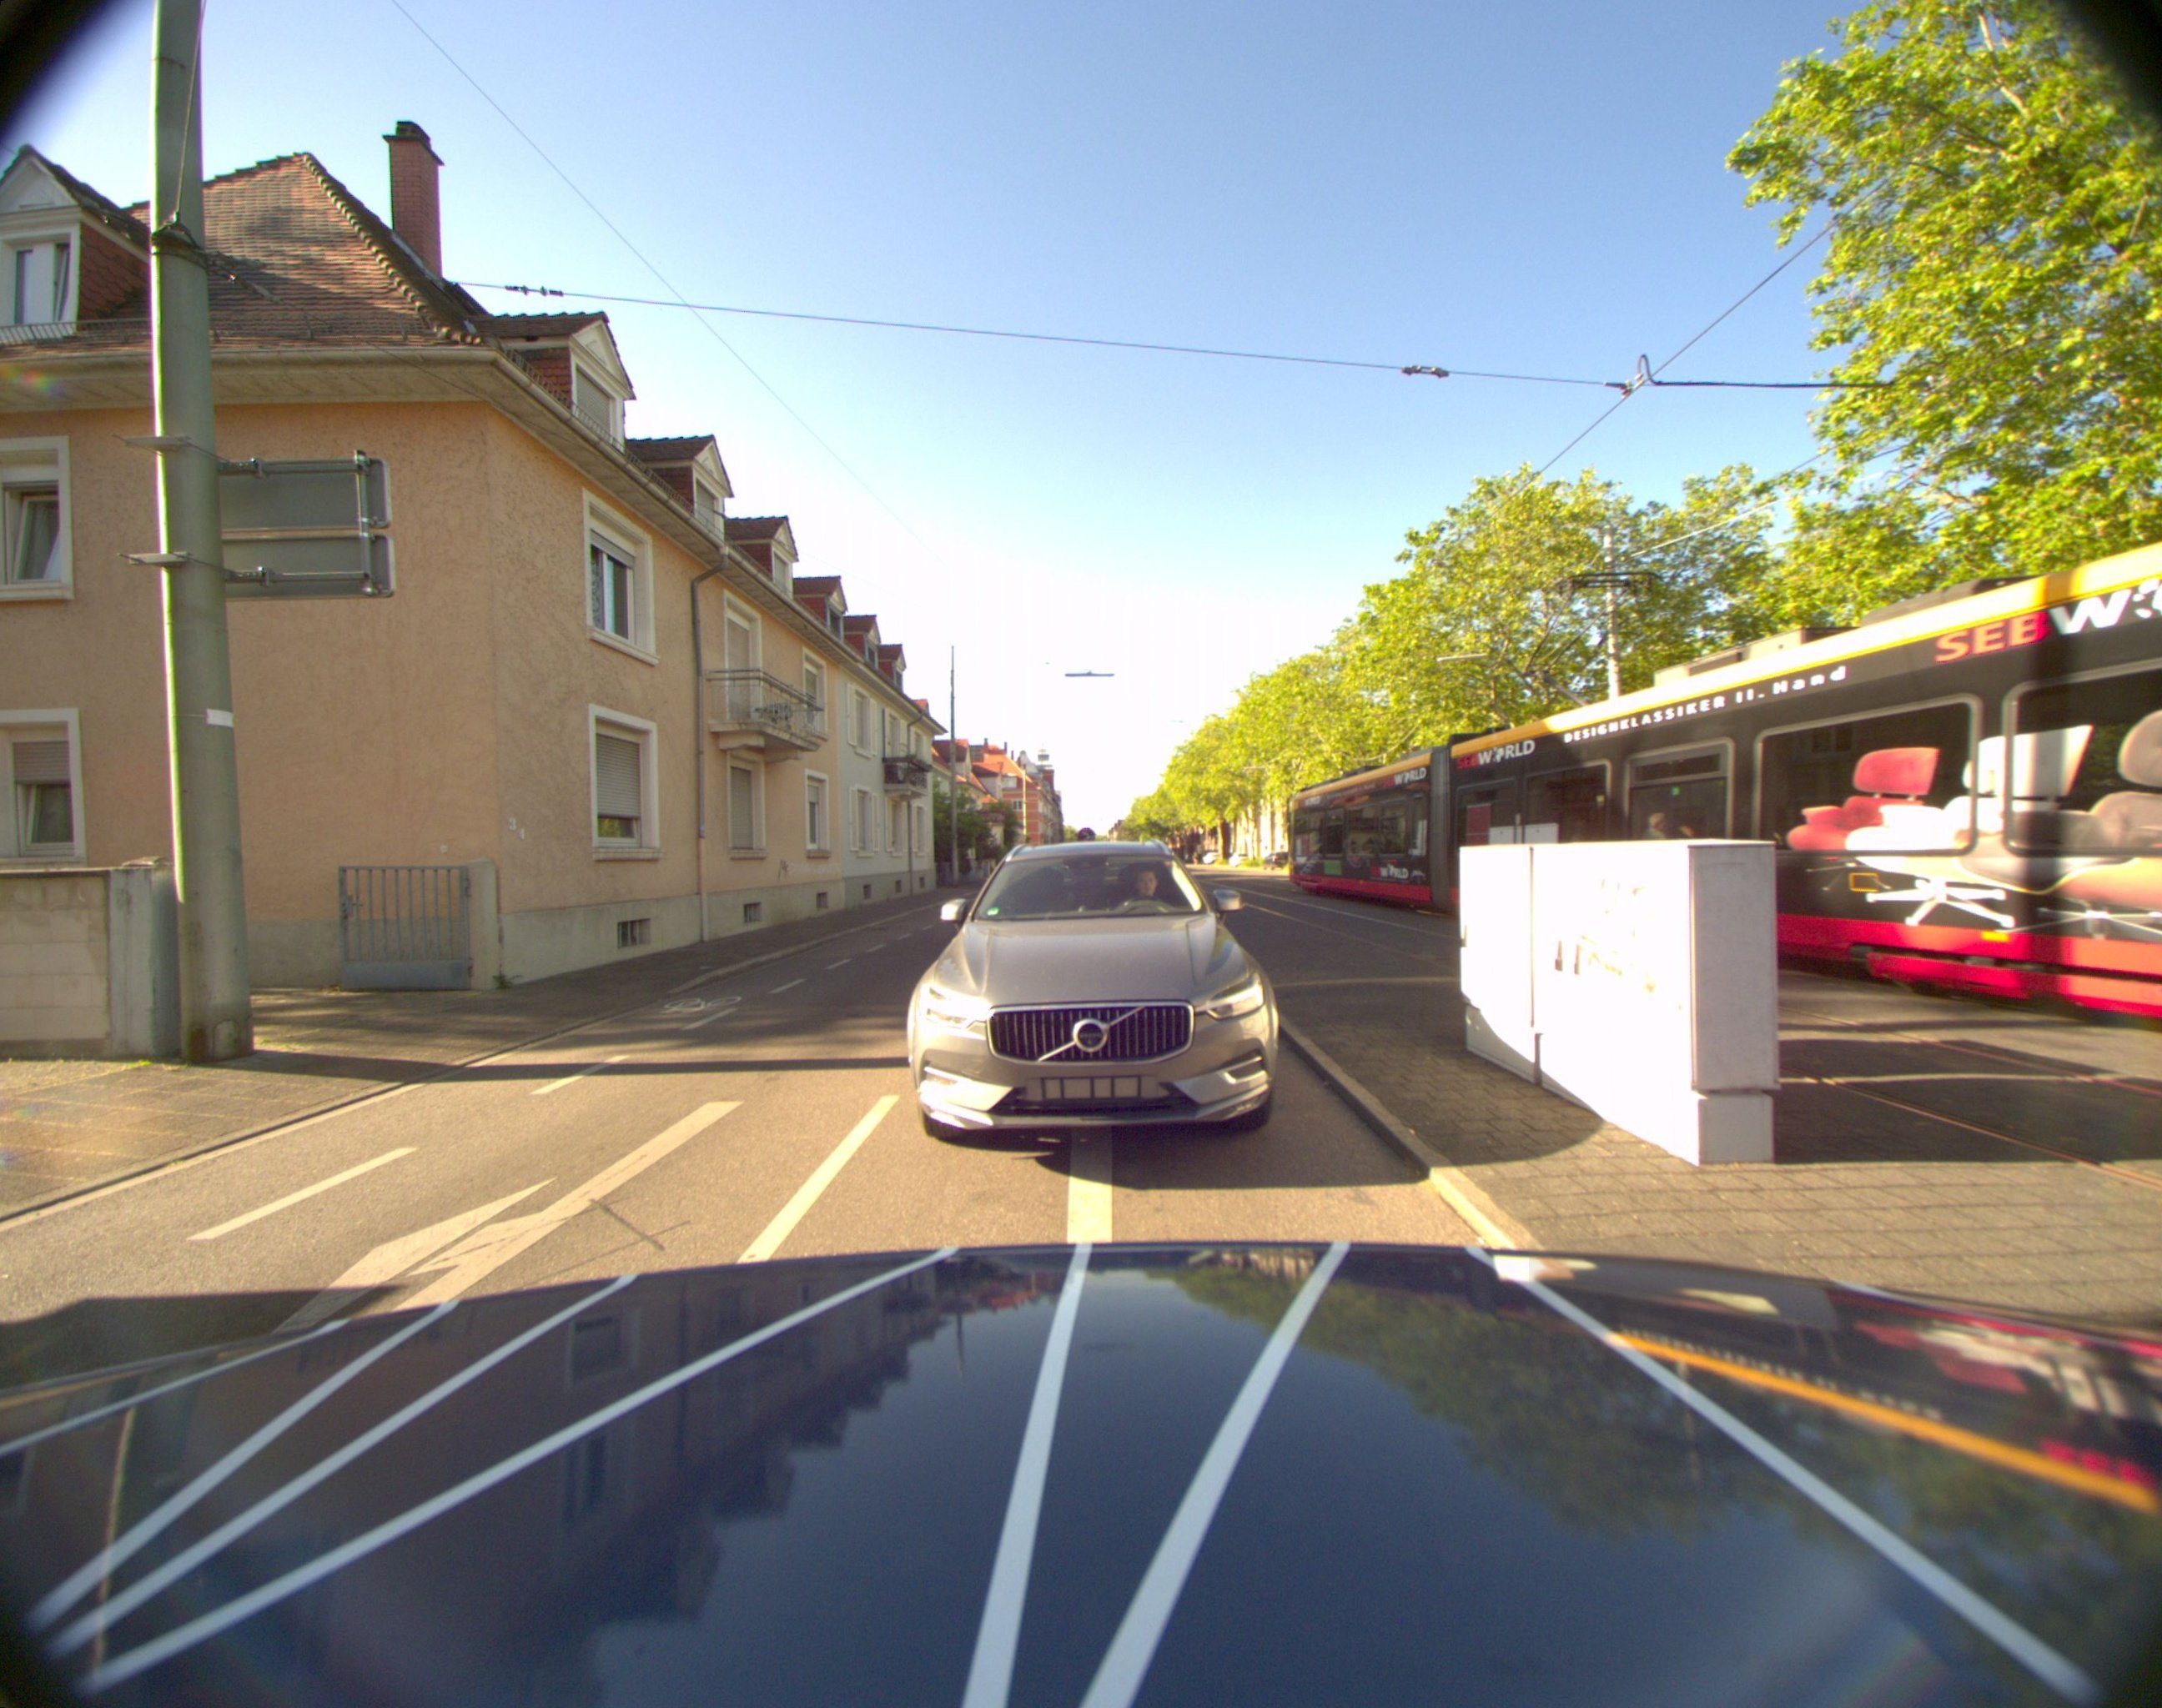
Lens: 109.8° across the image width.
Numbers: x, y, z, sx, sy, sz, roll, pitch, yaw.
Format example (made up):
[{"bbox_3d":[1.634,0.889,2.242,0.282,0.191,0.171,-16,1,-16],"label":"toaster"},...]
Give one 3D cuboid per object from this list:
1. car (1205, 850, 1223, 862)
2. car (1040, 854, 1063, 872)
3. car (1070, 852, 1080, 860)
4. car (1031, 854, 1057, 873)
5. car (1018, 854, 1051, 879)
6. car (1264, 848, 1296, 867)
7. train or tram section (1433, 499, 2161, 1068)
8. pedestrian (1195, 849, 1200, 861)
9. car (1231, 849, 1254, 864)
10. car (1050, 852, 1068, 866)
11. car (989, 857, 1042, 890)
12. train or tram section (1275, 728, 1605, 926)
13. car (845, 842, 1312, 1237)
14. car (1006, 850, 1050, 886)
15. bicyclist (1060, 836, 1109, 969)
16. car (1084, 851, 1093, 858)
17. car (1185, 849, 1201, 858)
[{"bbox_3d":[17.637,0.261,100.843,1.882,1.542,4.000,-1,0,2],"label":"car"},{"bbox_3d":[-2.604,0.773,67.052,1.882,1.477,3.999,-1,0,-1],"label":"car"},{"bbox_3d":[-1.102,0.313,148.225,1.882,1.477,3.999,-1,0,-1],"label":"car"},{"bbox_3d":[-2.933,0.747,61.078,1.882,1.477,3.999,-1,0,-1],"label":"car"},{"bbox_3d":[-2.901,0.787,48.410,1.882,1.477,3.999,-1,0,-1],"label":"car"},{"bbox_3d":[17.231,0.309,65.959,1.882,1.567,4.000,-1,0,2],"label":"car"},{"bbox_3d":[8.246,-0.481,8.094,3.063,3.592,11.946,-1,0,-2],"label":"train or tram section"},{"bbox_3d":[15.638,0.135,102.218,0.578,1.632,0.677,-1,1,3],"label":"pedestrian"},{"bbox_3d":[17.710,0.268,83.540,1.882,1.542,4.000,-1,0,2],"label":"car"},{"bbox_3d":[-2.471,0.552,85.631,1.882,1.477,3.999,-1,0,-1],"label":"car"},{"bbox_3d":[-3.137,0.922,37.145,1.881,1.477,4.001,-1,0,5],"label":"car"},{"bbox_3d":[8.272,-0.531,20.479,3.062,3.592,12.889,-1,0,1],"label":"train or tram section"},{"bbox_3d":[0.020,0.768,5.423,1.917,1.621,4.502,-1,0,1],"label":"car"},{"bbox_3d":[-2.903,0.729,42.830,1.932,1.834,5.313,-1,0,2],"label":"car"},{"bbox_3d":[0.053,0.629,10.195,0.600,1.709,0.662,-1,1,1],"label":"bicyclist"},{"bbox_3d":[1.712,0.046,166.839,1.882,1.477,3.999,-1,0,-1],"label":"car"},{"bbox_3d":[18.526,-0.110,125.733,1.882,1.542,3.999,-1,0,-2],"label":"car"}]
